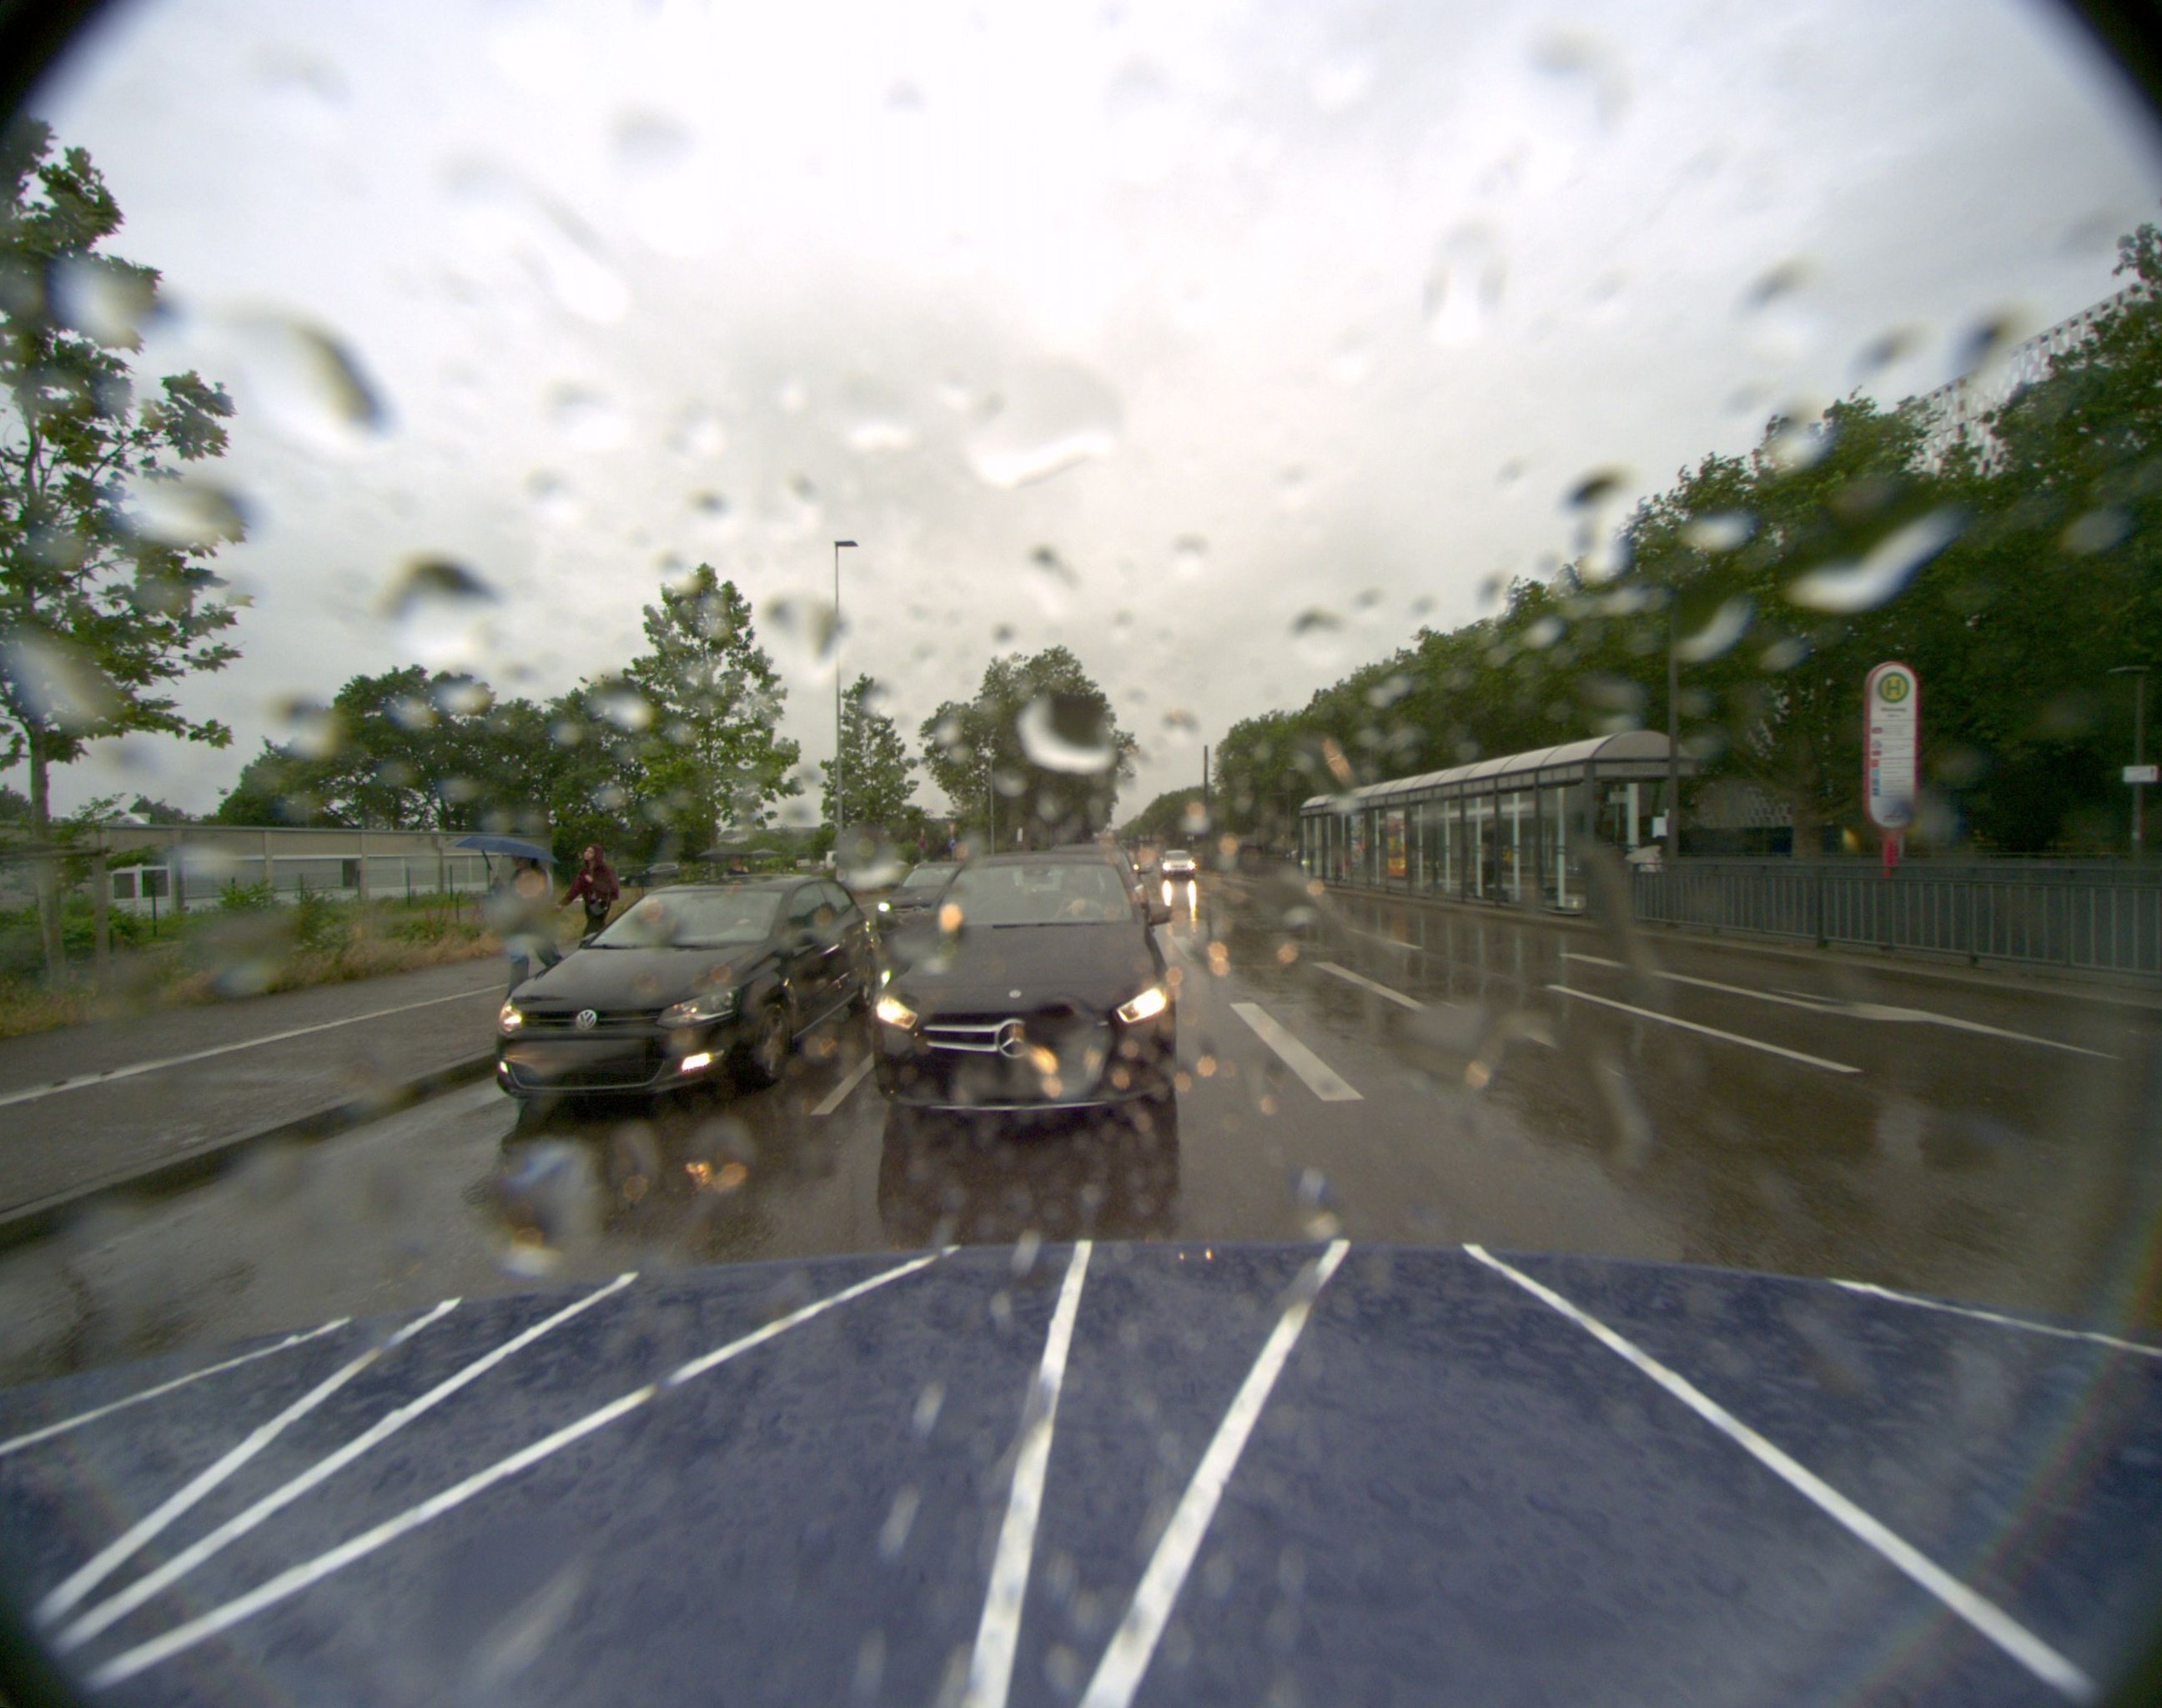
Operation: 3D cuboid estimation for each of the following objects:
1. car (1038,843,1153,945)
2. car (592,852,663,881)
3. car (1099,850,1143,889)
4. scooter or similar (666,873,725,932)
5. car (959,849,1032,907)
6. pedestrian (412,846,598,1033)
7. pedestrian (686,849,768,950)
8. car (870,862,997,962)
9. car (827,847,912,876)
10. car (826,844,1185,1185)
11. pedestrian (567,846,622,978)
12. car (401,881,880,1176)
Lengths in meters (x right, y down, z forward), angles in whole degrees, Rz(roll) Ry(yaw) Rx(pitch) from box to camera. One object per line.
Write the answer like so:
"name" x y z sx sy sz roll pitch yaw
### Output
"car" 0.204 0.575 12.944 1.633 1.420 3.623 -2 0 0
"car" -33.968 0.918 56.963 3.996 2.002 2.000 -2 2 2
"car" 1.796 0.662 35.329 1.794 1.597 3.999 -2 1 0
"scooter or similar" -8.210 1.003 16.259 0.381 1.123 1.776 0 1 -1
"car" -2.472 0.645 22.795 1.703 1.461 4.121 -2 1 0
"pedestrian" -5.699 0.796 7.598 1.082 1.746 0.969 0 2 0
"pedestrian" -6.219 0.774 13.400 1.025 1.699 0.891 1 2 0
"car" -2.815 1.044 15.301 1.698 1.565 3.813 -2 1 1
"car" -13.439 0.467 48.475 4.759 1.640 1.999 -2 1 -2
"car" -0.337 0.761 5.784 1.690 1.578 4.162 -2 1 1
"pedestrian" -6.233 0.732 9.745 0.401 1.652 0.440 1 2 0
"car" -2.908 1.030 6.014 1.633 1.420 3.623 -2 0 0
